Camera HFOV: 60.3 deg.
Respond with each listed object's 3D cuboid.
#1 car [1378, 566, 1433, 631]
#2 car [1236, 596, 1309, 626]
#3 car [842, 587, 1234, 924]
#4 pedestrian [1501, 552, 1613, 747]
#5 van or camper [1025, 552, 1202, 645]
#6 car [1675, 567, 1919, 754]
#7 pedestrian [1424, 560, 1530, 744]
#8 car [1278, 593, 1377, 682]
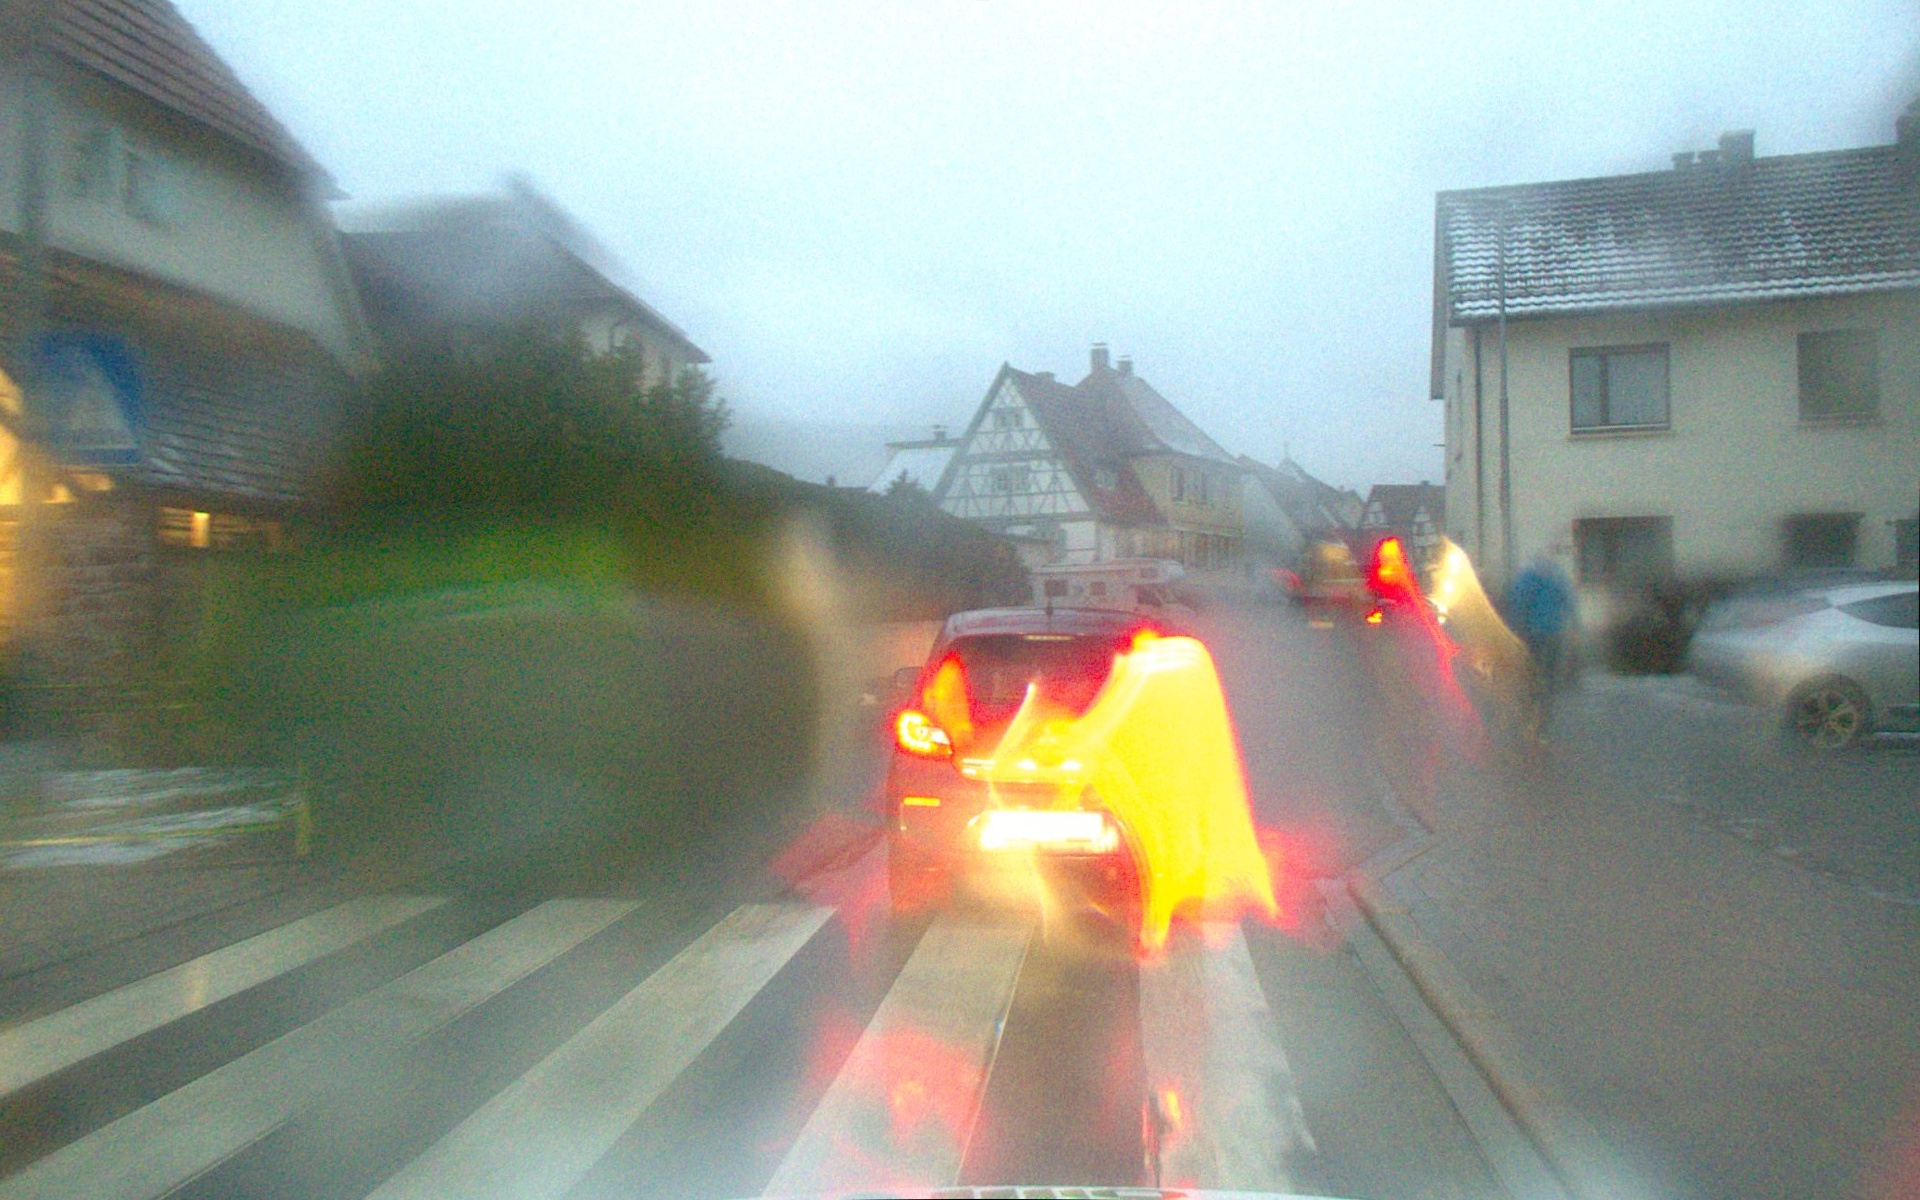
[{"bbox_3d":[17.340,-0.063,64.320,1.776,2.455,3.753,-1,0,19],"label":"car"},{"bbox_3d":[16.225,0.568,85.853,3.438,1.533,1.691,0,0,25],"label":"car"},{"bbox_3d":[0.446,0.696,9.493,1.758,1.502,4.001,1,0,3],"label":"car"},{"bbox_3d":[5.684,0.462,15.811,0.830,1.763,0.972,-4,-1,15],"label":"pedestrian"},{"bbox_3d":[5.671,-0.036,61.126,5.938,3.007,2.405,-4,-2,23],"label":"van or camper"},{"bbox_3d":[8.450,0.467,14.303,3.816,1.500,1.752,-2,0,10],"label":"car"},{"bbox_3d":[5.034,0.492,16.166,0.848,1.696,0.993,-4,-1,15],"label":"pedestrian"},{"bbox_3d":[7.506,0.710,33.532,1.808,1.665,4.339,1,0,14],"label":"car"}]
